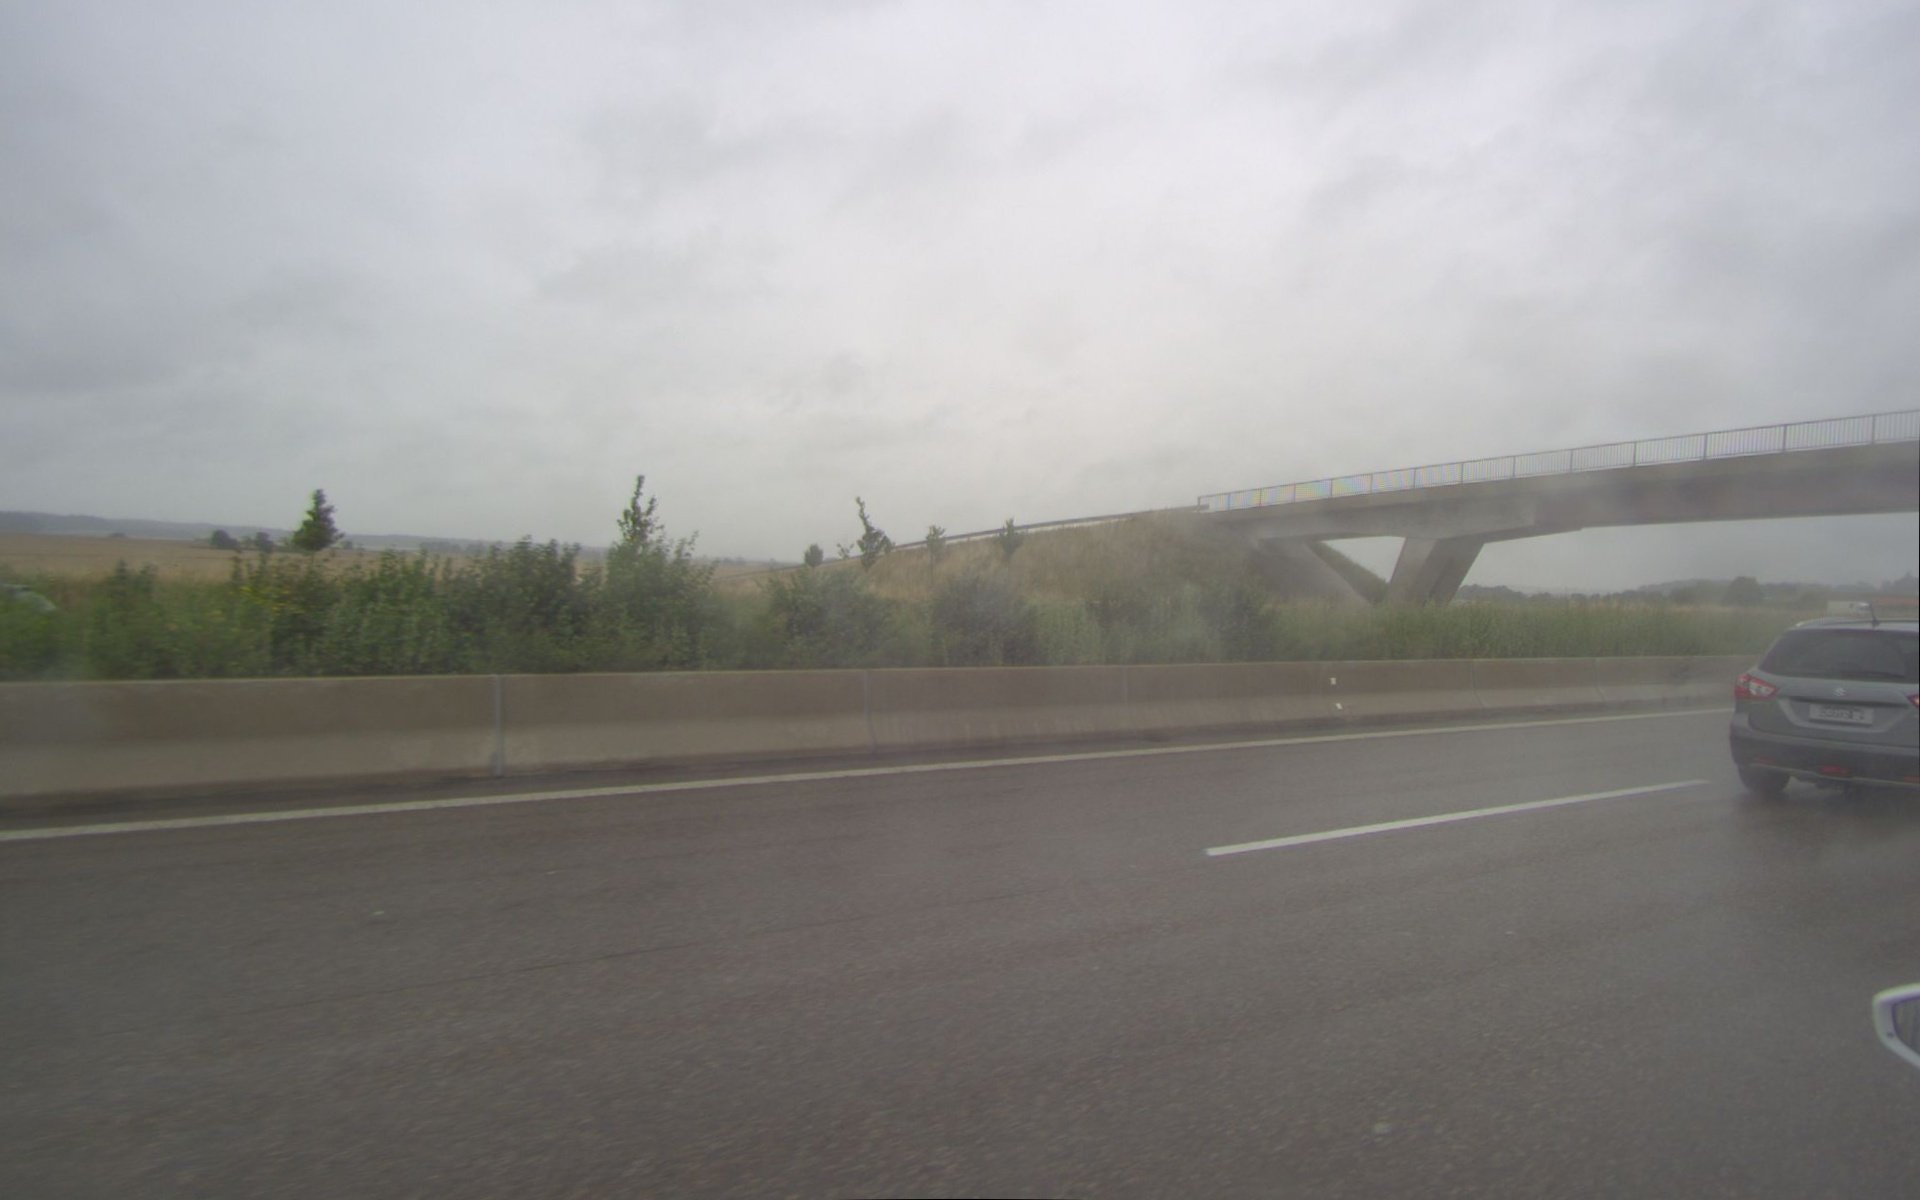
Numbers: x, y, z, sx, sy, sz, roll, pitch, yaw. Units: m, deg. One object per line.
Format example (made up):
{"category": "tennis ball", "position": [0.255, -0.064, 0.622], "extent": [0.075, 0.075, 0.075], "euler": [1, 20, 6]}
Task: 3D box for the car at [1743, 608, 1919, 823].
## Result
{"category": "car", "position": [8.716, 0.884, 8.767], "extent": [4.713, 1.533, 1.833], "euler": [1, 0, -37]}
